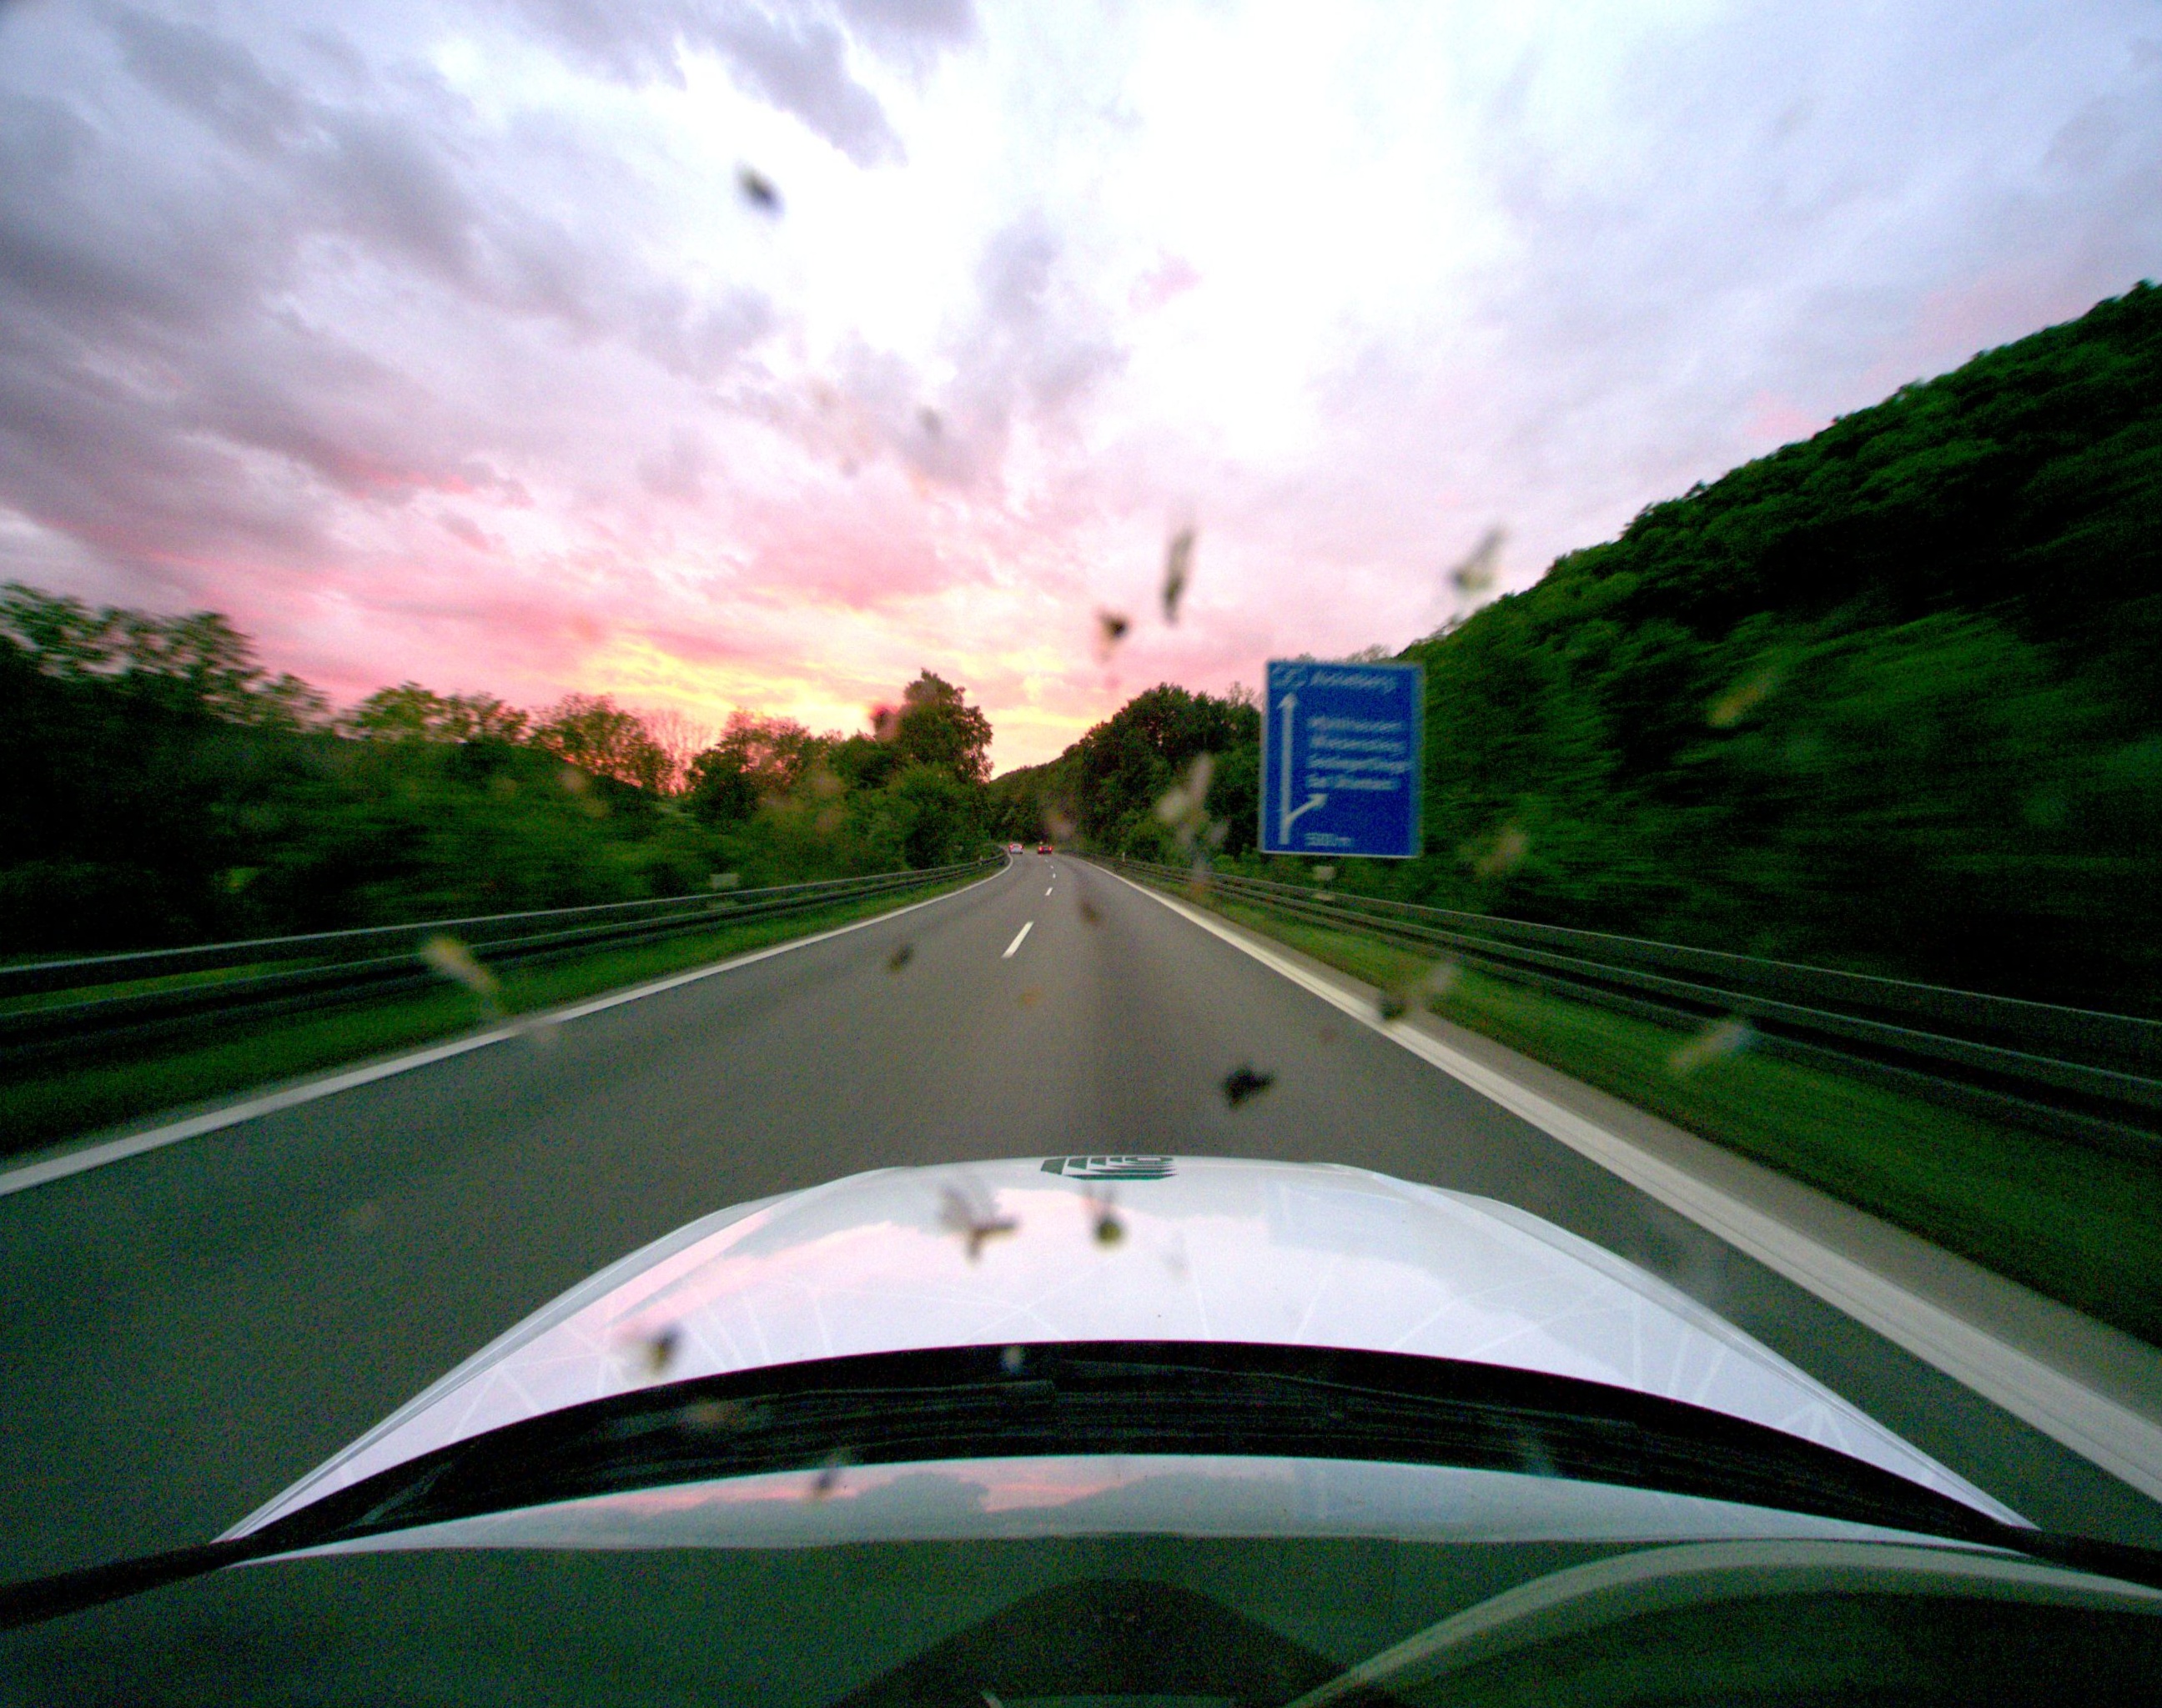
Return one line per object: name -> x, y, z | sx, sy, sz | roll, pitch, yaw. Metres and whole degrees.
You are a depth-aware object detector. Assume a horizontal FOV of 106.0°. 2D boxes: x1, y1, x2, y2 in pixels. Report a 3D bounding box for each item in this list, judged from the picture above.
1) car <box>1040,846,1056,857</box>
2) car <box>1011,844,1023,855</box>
car -> -4.869, -0.405, 121.696 | 1.870, 1.466, 4.003 | -5, -1, 3
car -> -9.636, -0.663, 123.138 | 1.715, 1.501, 3.994 | 0, -1, -4
